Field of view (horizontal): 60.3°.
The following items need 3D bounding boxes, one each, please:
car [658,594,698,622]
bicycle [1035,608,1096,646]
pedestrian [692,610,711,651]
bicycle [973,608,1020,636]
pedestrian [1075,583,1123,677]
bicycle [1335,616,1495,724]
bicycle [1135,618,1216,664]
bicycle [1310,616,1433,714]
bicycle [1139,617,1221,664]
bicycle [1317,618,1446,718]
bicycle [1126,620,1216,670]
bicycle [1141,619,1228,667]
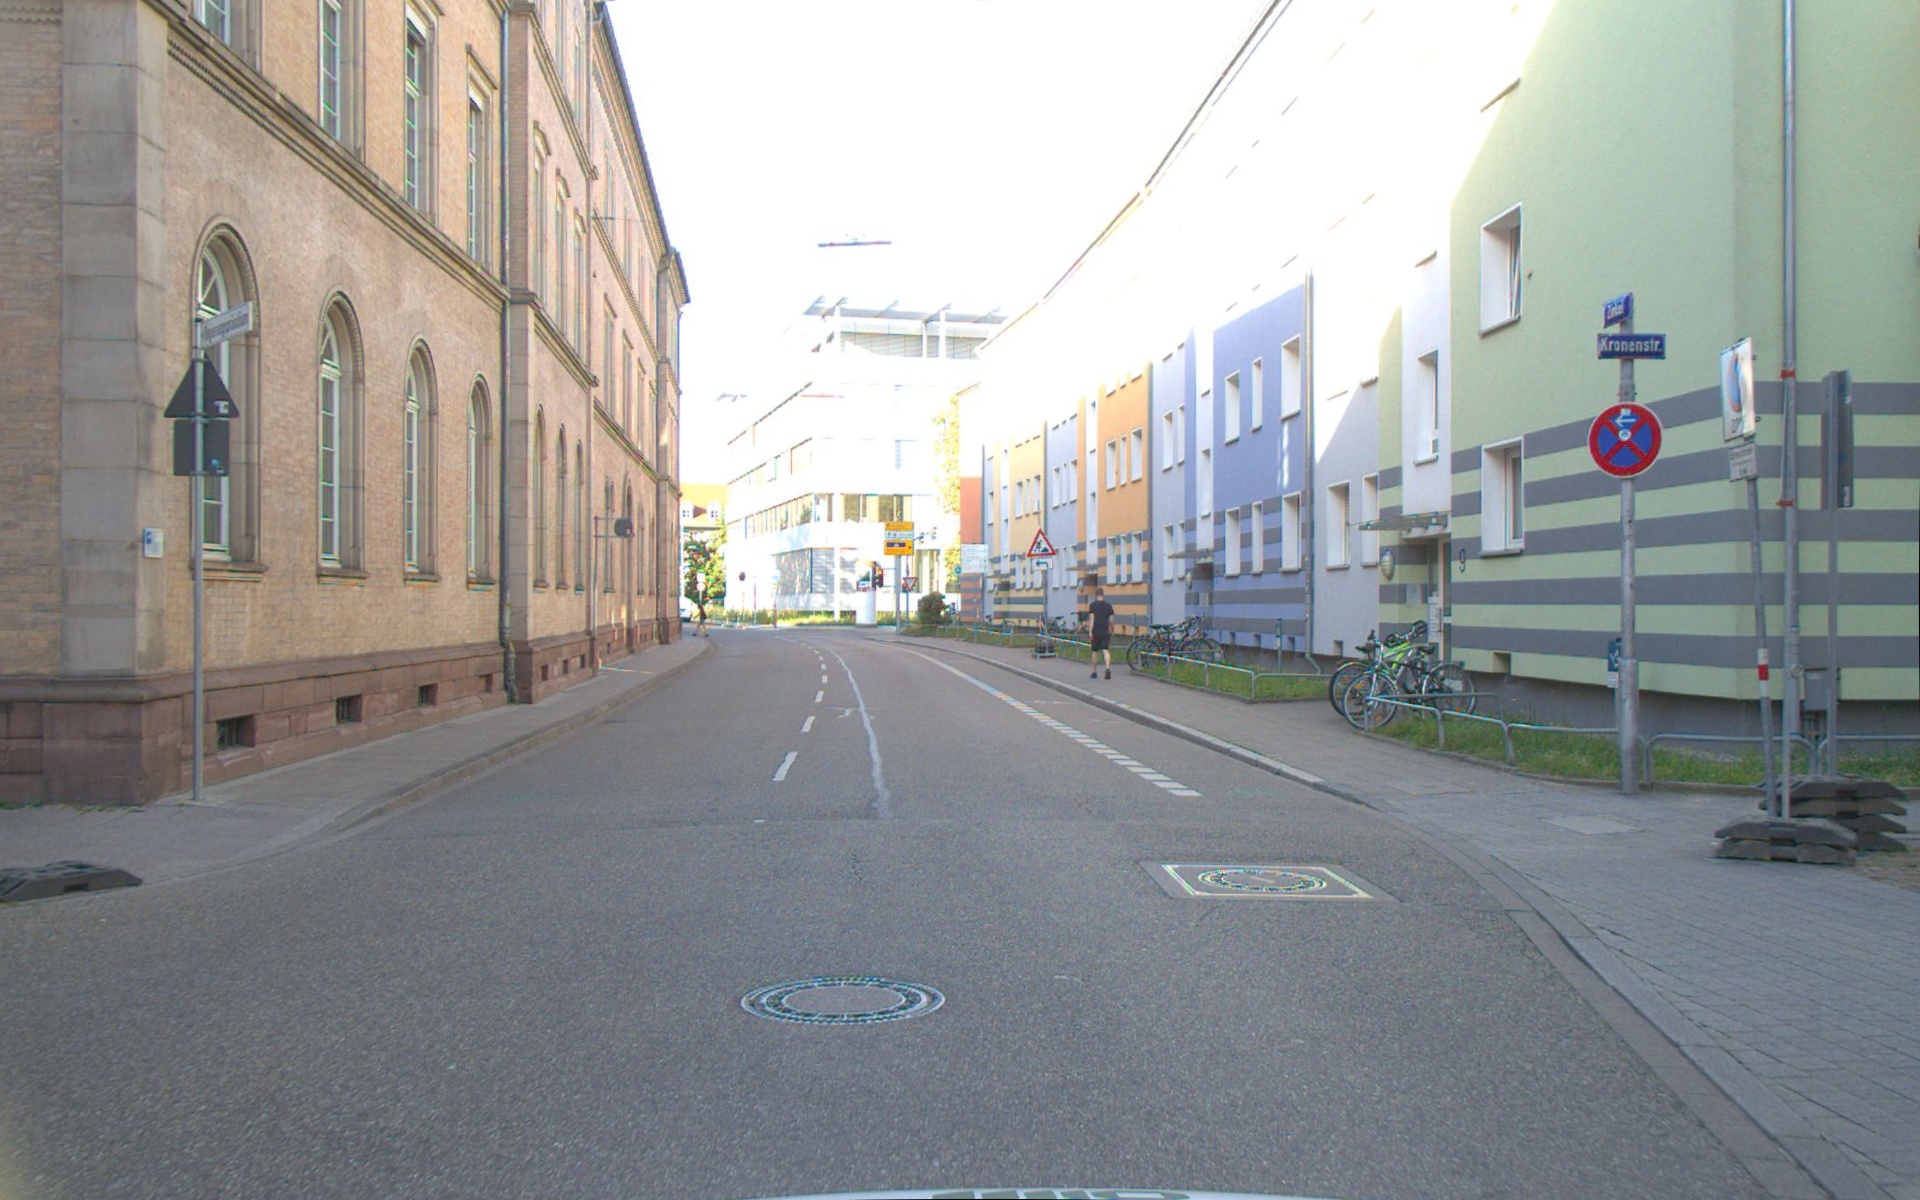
[{"bbox_3d":[-22.344,0.651,130.911,2.386,2.149,5.207,2,-1,-17],"label":"car"},{"bbox_3d":[3.207,0.817,50.454,1.776,1.157,0.551,0,-1,-7],"label":"bicycle"},{"bbox_3d":[-12.857,1.507,82.319,0.880,2.049,0.750,0,-1,-13],"label":"pedestrian"},{"bbox_3d":[1.421,0.855,64.475,1.721,1.021,0.612,-2,-1,-10],"label":"bicycle"},{"bbox_3d":[2.735,0.574,32.607,0.683,1.790,1.187,-2,0,-5],"label":"pedestrian"},{"bbox_3d":[5.456,0.832,19.860,1.714,1.161,0.551,-3,1,-5],"label":"bicycle"},{"bbox_3d":[4.693,0.894,36.026,1.714,0.963,0.335,-1,-1,-5],"label":"bicycle"},{"bbox_3d":[5.353,0.832,21.516,1.575,1.161,0.236,-3,1,-13],"label":"bicycle"},{"bbox_3d":[4.723,0.873,35.516,1.714,0.963,0.325,-1,-1,-4],"label":"bicycle"},{"bbox_3d":[5.413,0.859,21.247,1.613,1.161,0.282,-3,1,-13],"label":"bicycle"},{"bbox_3d":[4.297,0.907,33.731,1.714,0.963,0.551,-1,-1,-5],"label":"bicycle"},{"bbox_3d":[4.673,0.893,34.508,1.714,0.963,0.551,-1,-1,-5],"label":"bicycle"}]
